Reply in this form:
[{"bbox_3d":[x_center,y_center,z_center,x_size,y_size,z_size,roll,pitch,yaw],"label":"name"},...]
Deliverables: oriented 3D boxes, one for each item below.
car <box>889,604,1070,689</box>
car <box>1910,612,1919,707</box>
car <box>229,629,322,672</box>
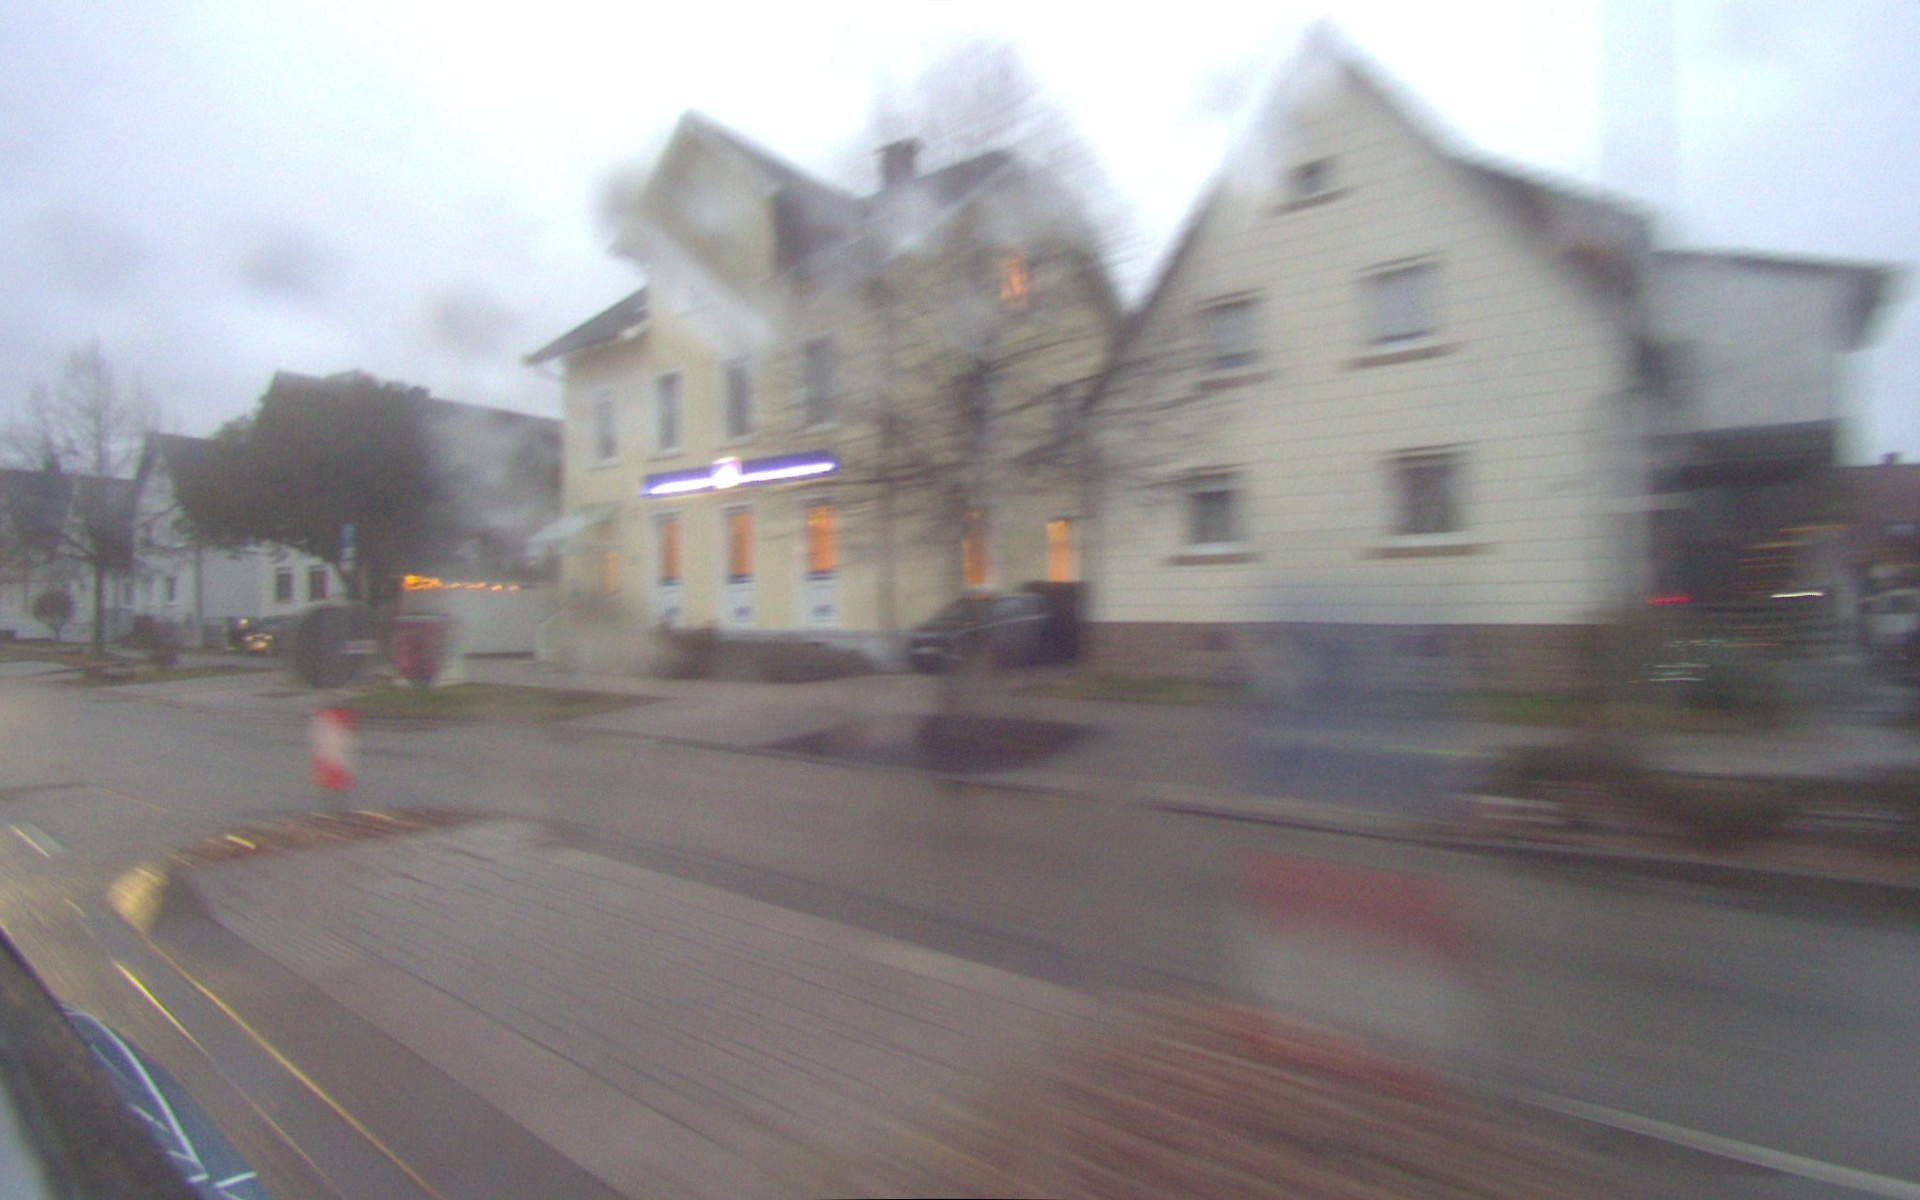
[{"bbox_3d":[0.511,0.920,21.613,1.919,1.612,3.950,-2,-1,37],"label":"car"},{"bbox_3d":[17.917,0.983,16.129,4.000,1.537,1.887,-1,0,43],"label":"car"},{"bbox_3d":[-24.736,1.785,36.517,3.997,1.376,1.764,-1,0,40],"label":"car"}]
